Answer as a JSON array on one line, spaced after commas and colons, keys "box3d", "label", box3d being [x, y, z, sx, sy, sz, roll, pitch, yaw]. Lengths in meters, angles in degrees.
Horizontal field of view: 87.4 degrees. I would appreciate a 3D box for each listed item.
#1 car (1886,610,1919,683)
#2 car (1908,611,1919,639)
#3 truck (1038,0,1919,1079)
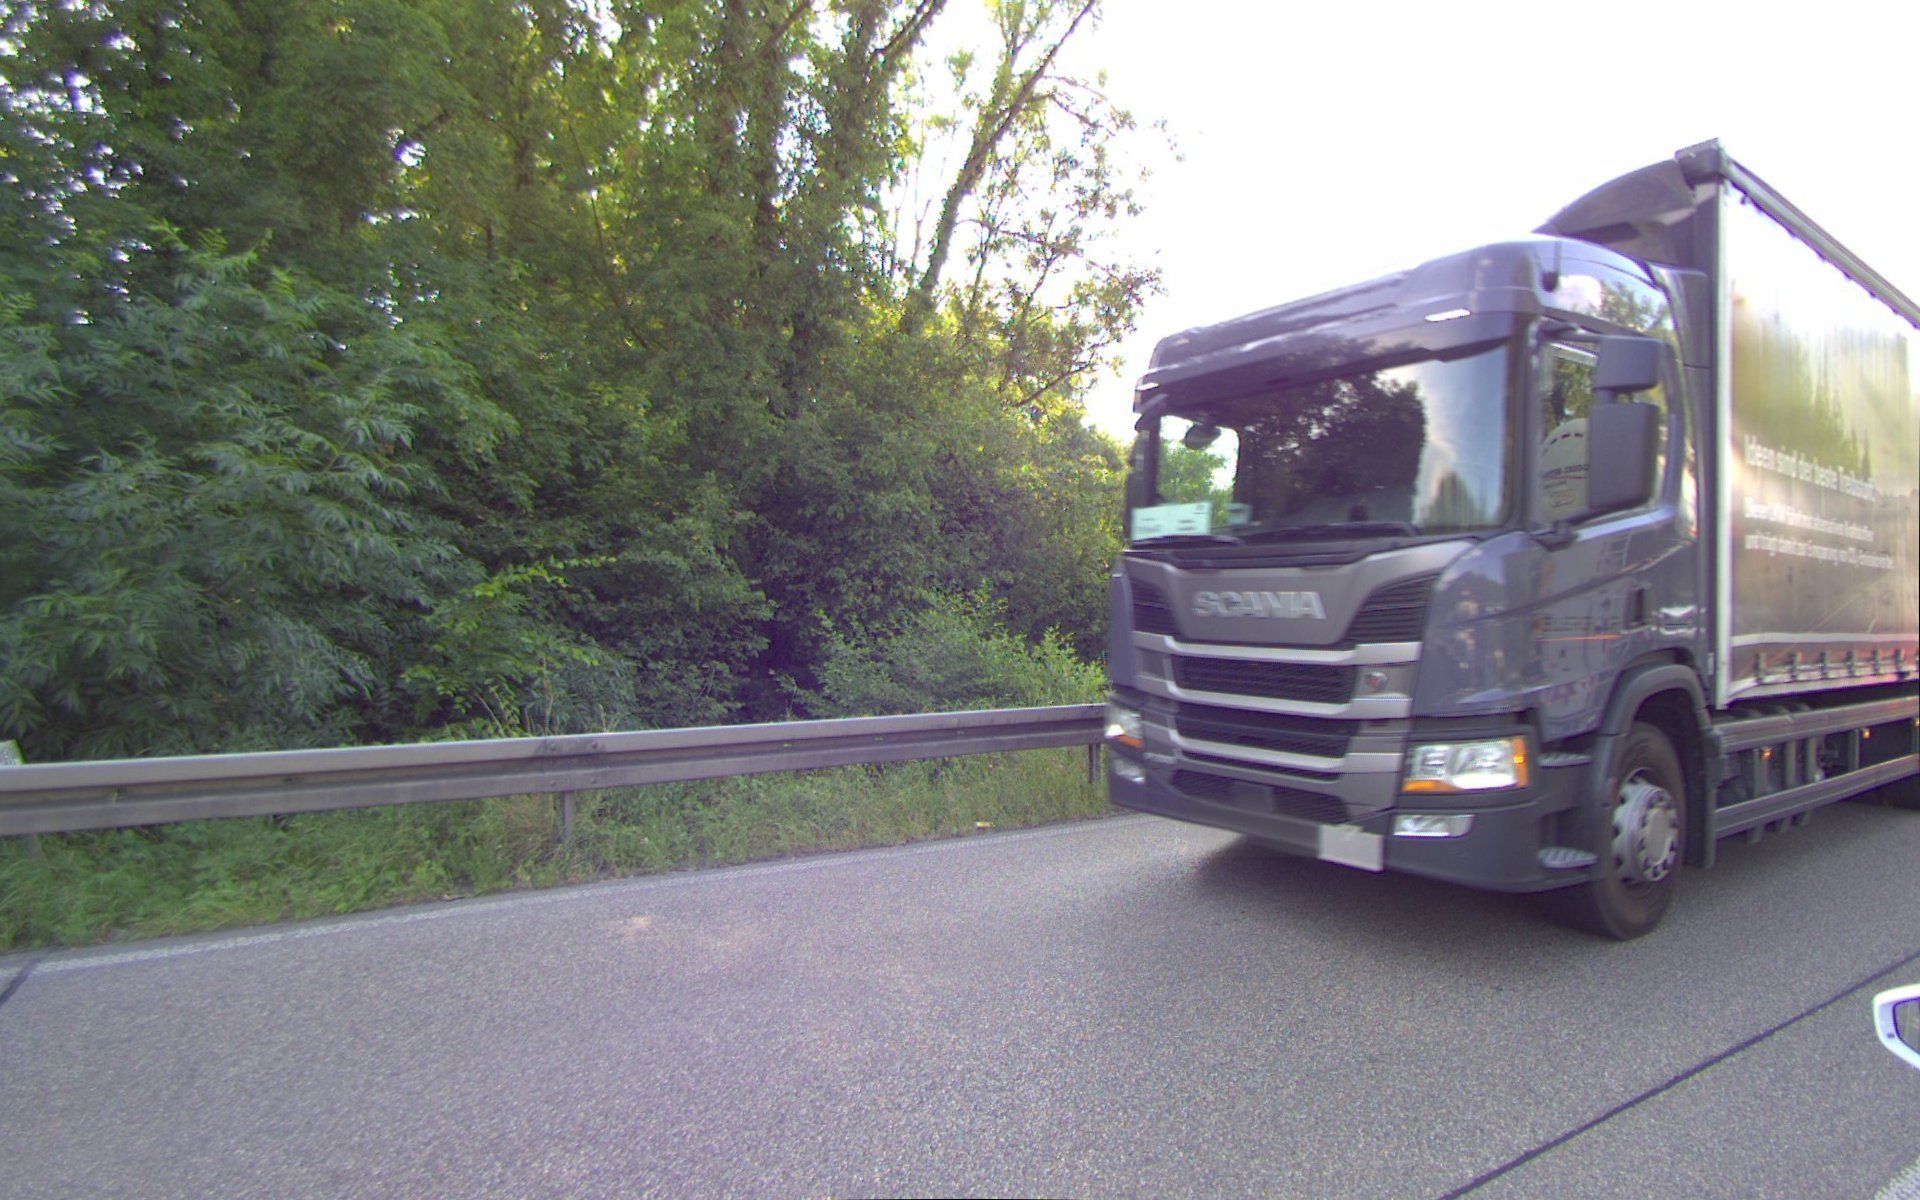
[{"box3d": [22.998, 1.090, 23.364, 3.973, 1.577, 1.849, 1, 2, -44], "label": "car"}, {"box3d": [60.690, 1.584, 62.561, 1.636, 1.727, 3.988, 3, 2, 34], "label": "car"}, {"box3d": [5.448, -0.456, 7.929, 10.144, 4.646, 2.991, 2, -1, -37], "label": "truck"}]
